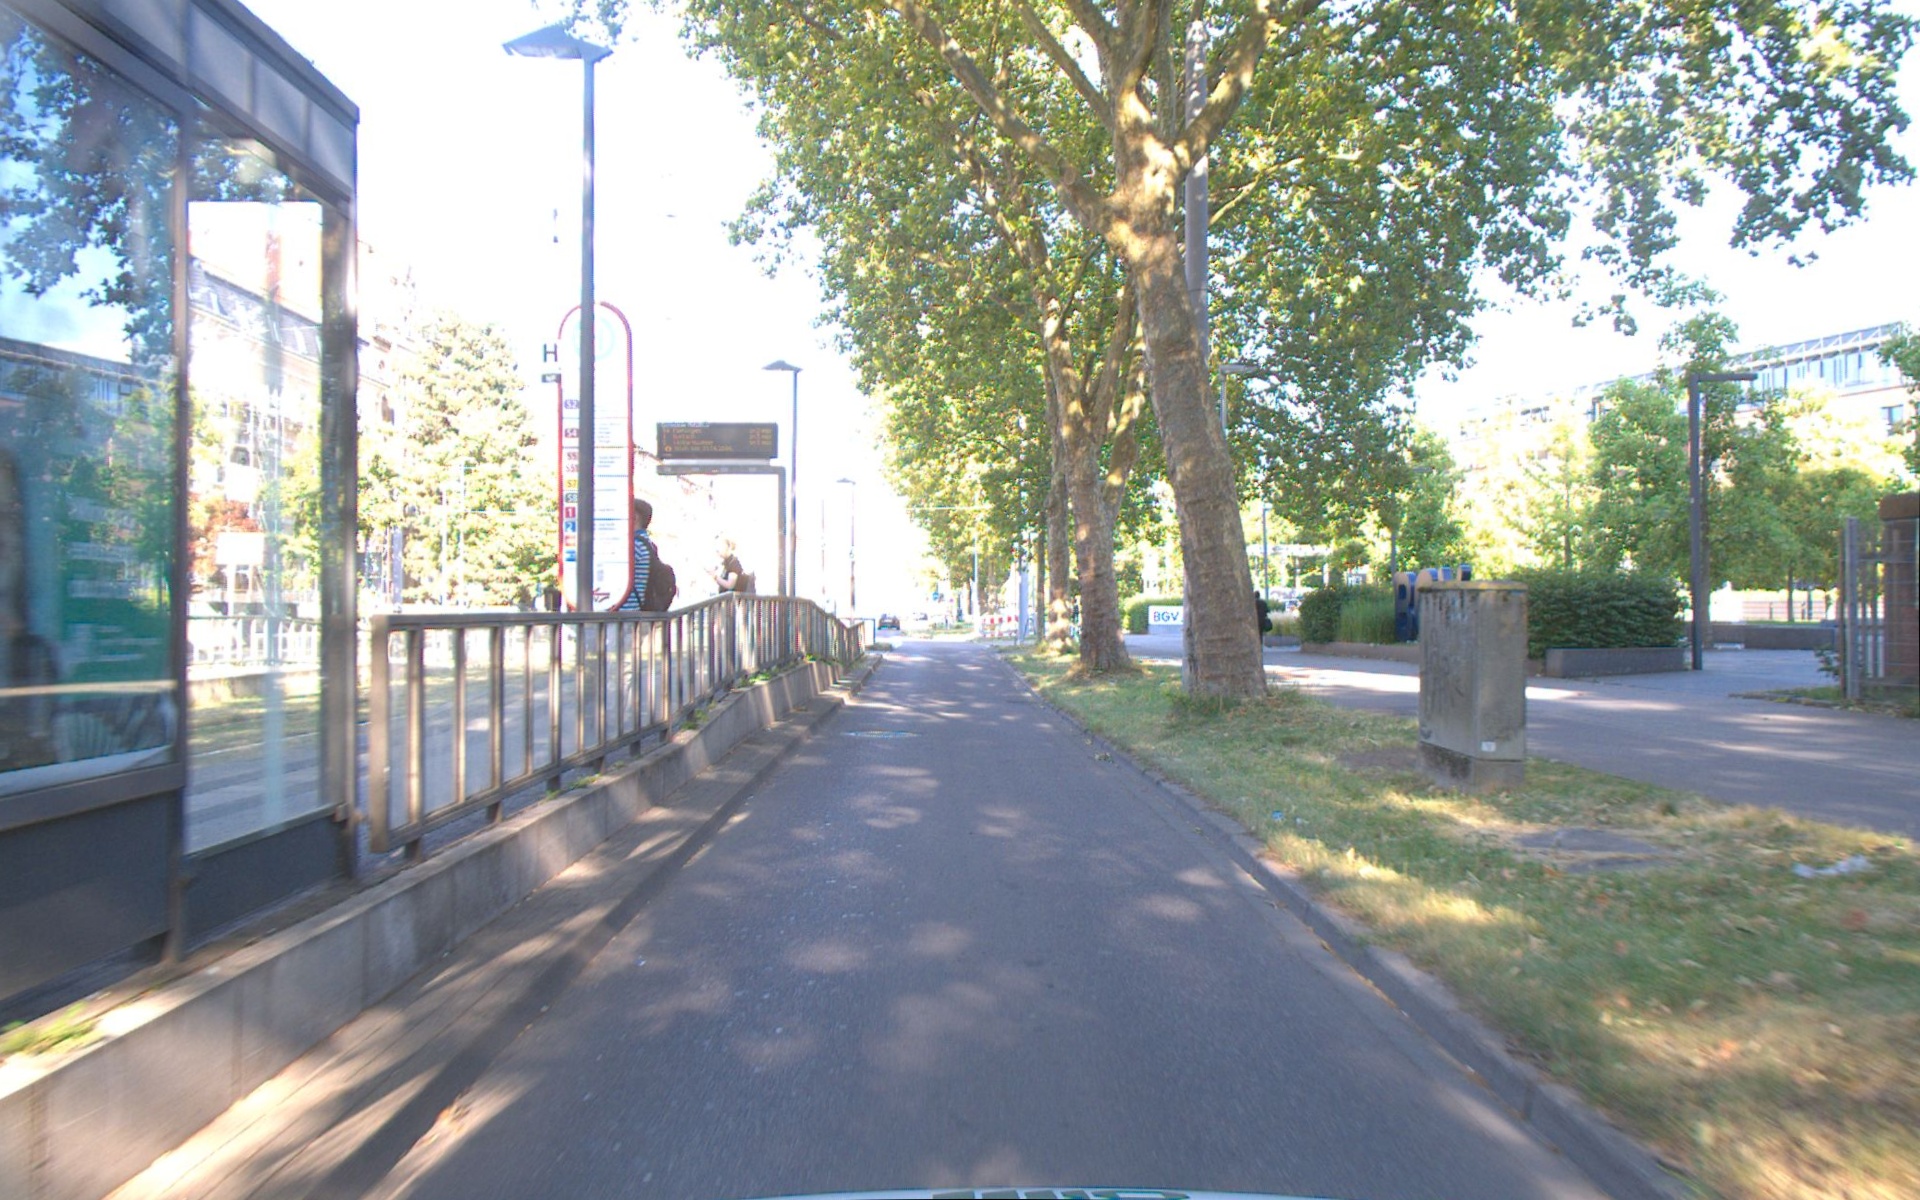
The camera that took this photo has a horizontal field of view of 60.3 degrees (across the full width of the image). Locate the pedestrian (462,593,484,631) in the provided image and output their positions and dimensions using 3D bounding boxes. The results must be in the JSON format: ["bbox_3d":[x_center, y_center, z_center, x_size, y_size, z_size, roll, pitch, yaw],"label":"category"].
[{"bbox_3d":[-25.302,0.622,85.962,0.841,1.961,1.086,-1,-1,-2],"label":"pedestrian"}]

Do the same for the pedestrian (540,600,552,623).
[{"bbox_3d":[-28.551,0.808,114.109,0.637,1.566,0.783,-1,-1,-2],"label":"pedestrian"}]

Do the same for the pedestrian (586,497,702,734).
[{"bbox_3d":[-2.388,0.118,12.597,0.665,1.720,0.894,2,-1,-1],"label":"pedestrian"}]

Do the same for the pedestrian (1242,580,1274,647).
[{"bbox_3d":[7.698,0.346,42.795,0.636,1.685,0.783,-1,-1,-1],"label":"pedestrian"}]

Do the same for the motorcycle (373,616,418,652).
[{"bbox_3d":[-18.009,1.073,52.828,0.802,1.092,2.399,2,-1,-5],"label":"motorcycle"}]

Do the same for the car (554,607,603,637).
[{"bbox_3d":[-19.225,1.095,83.530,1.573,1.432,3.850,2,-1,-1],"label":"car"}]

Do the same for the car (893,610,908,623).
[{"bbox_3d":[-9.413,2.597,260.990,1.956,1.892,3.993,2,-1,-7],"label":"car"}]

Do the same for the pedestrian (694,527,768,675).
[{"bbox_3d":[-2.734,0.014,19.814,0.741,1.720,0.678,2,-1,-1],"label":"pedestrian"}]

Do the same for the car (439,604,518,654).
[{"bbox_3d":[-18.984,1.131,65.339,1.826,1.837,4.027,2,-1,1],"label":"car"}]

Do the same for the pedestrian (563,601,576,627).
[{"bbox_3d":[-26.968,0.970,114.246,0.637,1.806,0.888,-1,-1,-2],"label":"pedestrian"}]

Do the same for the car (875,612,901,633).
[{"bbox_3d":[-6.037,1.871,138.920,1.953,1.713,3.999,2,-1,-1],"label":"car"}]

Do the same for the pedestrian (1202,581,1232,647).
[{"bbox_3d":[6.626,0.356,42.703,0.615,1.685,0.739,-1,-1,-1],"label":"pedestrian"}]

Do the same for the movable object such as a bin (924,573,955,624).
[{"bbox_3d":[-2.302,-0.124,179.822,3.025,5.177,8.888,-3,0,-2],"label":"movable object such as a bin"}]

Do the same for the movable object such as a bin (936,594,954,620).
[{"bbox_3d":[-1.847,0.900,202.121,1.928,3.065,4.794,-3,0,-2],"label":"movable object such as a bin"}]

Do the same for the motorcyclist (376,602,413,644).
[{"bbox_3d":[-17.985,0.729,52.659,0.802,1.322,1.275,2,-1,-6],"label":"motorcyclist"}]

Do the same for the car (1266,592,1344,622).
[{"bbox_3d":[21.869,0.422,104.981,4.606,1.743,1.836,-2,1,-22],"label":"car"}]

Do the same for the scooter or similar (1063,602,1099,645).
[{"bbox_3d":[3.621,0.698,49.498,1.030,1.266,0.841,-1,-1,1],"label":"scooter or similar"}]
